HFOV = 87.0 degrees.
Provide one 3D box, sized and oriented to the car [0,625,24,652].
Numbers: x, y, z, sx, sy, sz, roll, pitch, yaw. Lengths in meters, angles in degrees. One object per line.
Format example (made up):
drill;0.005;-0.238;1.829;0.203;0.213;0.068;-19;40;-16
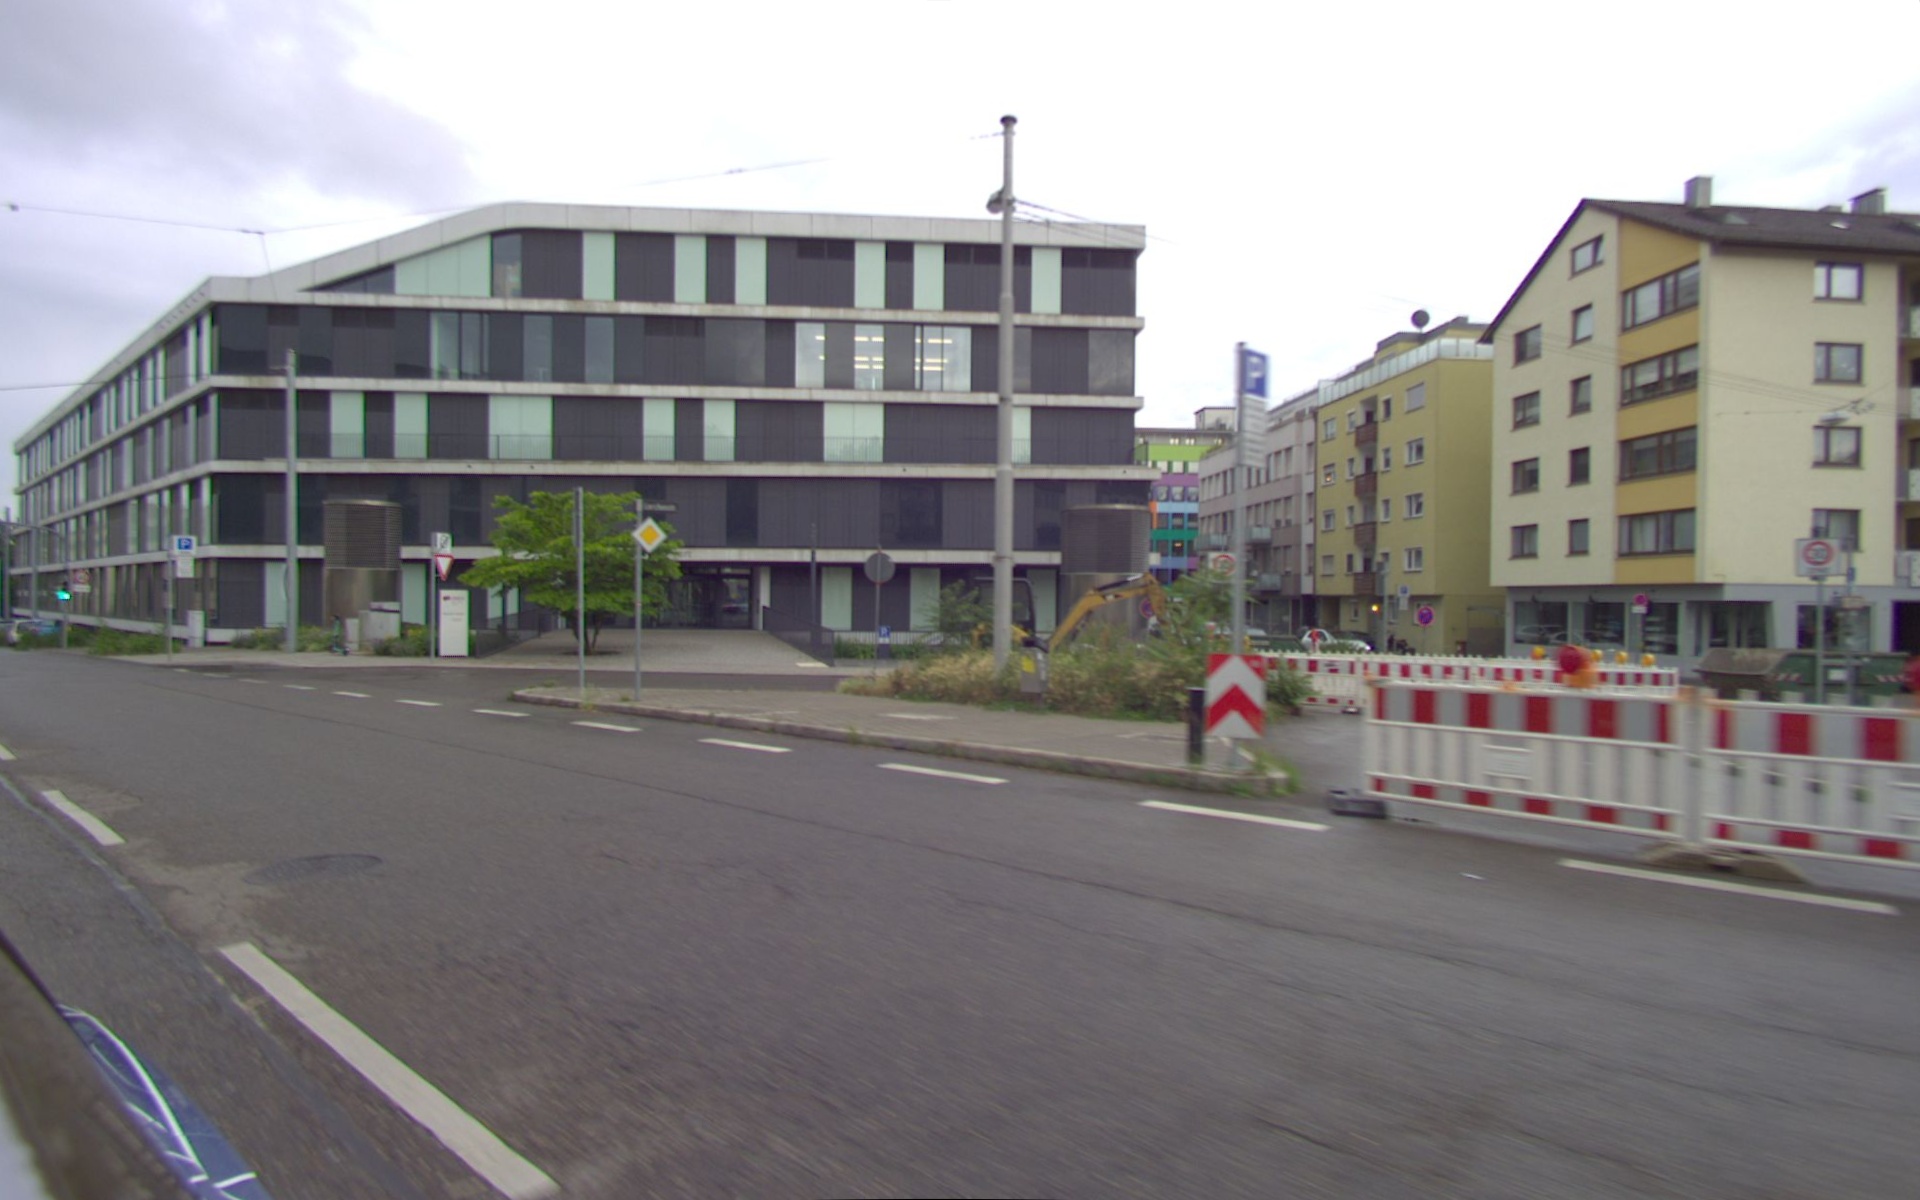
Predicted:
car;-59.771;2.397;63.052;4.363;1.601;1.861;-2;0;44

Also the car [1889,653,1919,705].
car;29.880;2.322;29.577;3.938;1.522;1.802;1;-3;-6

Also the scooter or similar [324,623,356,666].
scooter or similar;-18.959;1.347;30.927;1.231;1.258;0.491;-1;0;43

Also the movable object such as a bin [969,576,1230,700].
movable object such as a bin;2.820;0.783;21.244;5.218;2.478;1.670;0;-1;2

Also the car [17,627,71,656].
car;-47.846;2.152;52.852;3.581;1.478;1.621;-2;-2;40

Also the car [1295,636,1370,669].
car;17.751;2.508;48.426;1.773;1.522;4.004;0;-3;-5

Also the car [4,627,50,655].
car;-51.761;2.235;56.129;3.583;1.478;1.619;-2;-2;43
